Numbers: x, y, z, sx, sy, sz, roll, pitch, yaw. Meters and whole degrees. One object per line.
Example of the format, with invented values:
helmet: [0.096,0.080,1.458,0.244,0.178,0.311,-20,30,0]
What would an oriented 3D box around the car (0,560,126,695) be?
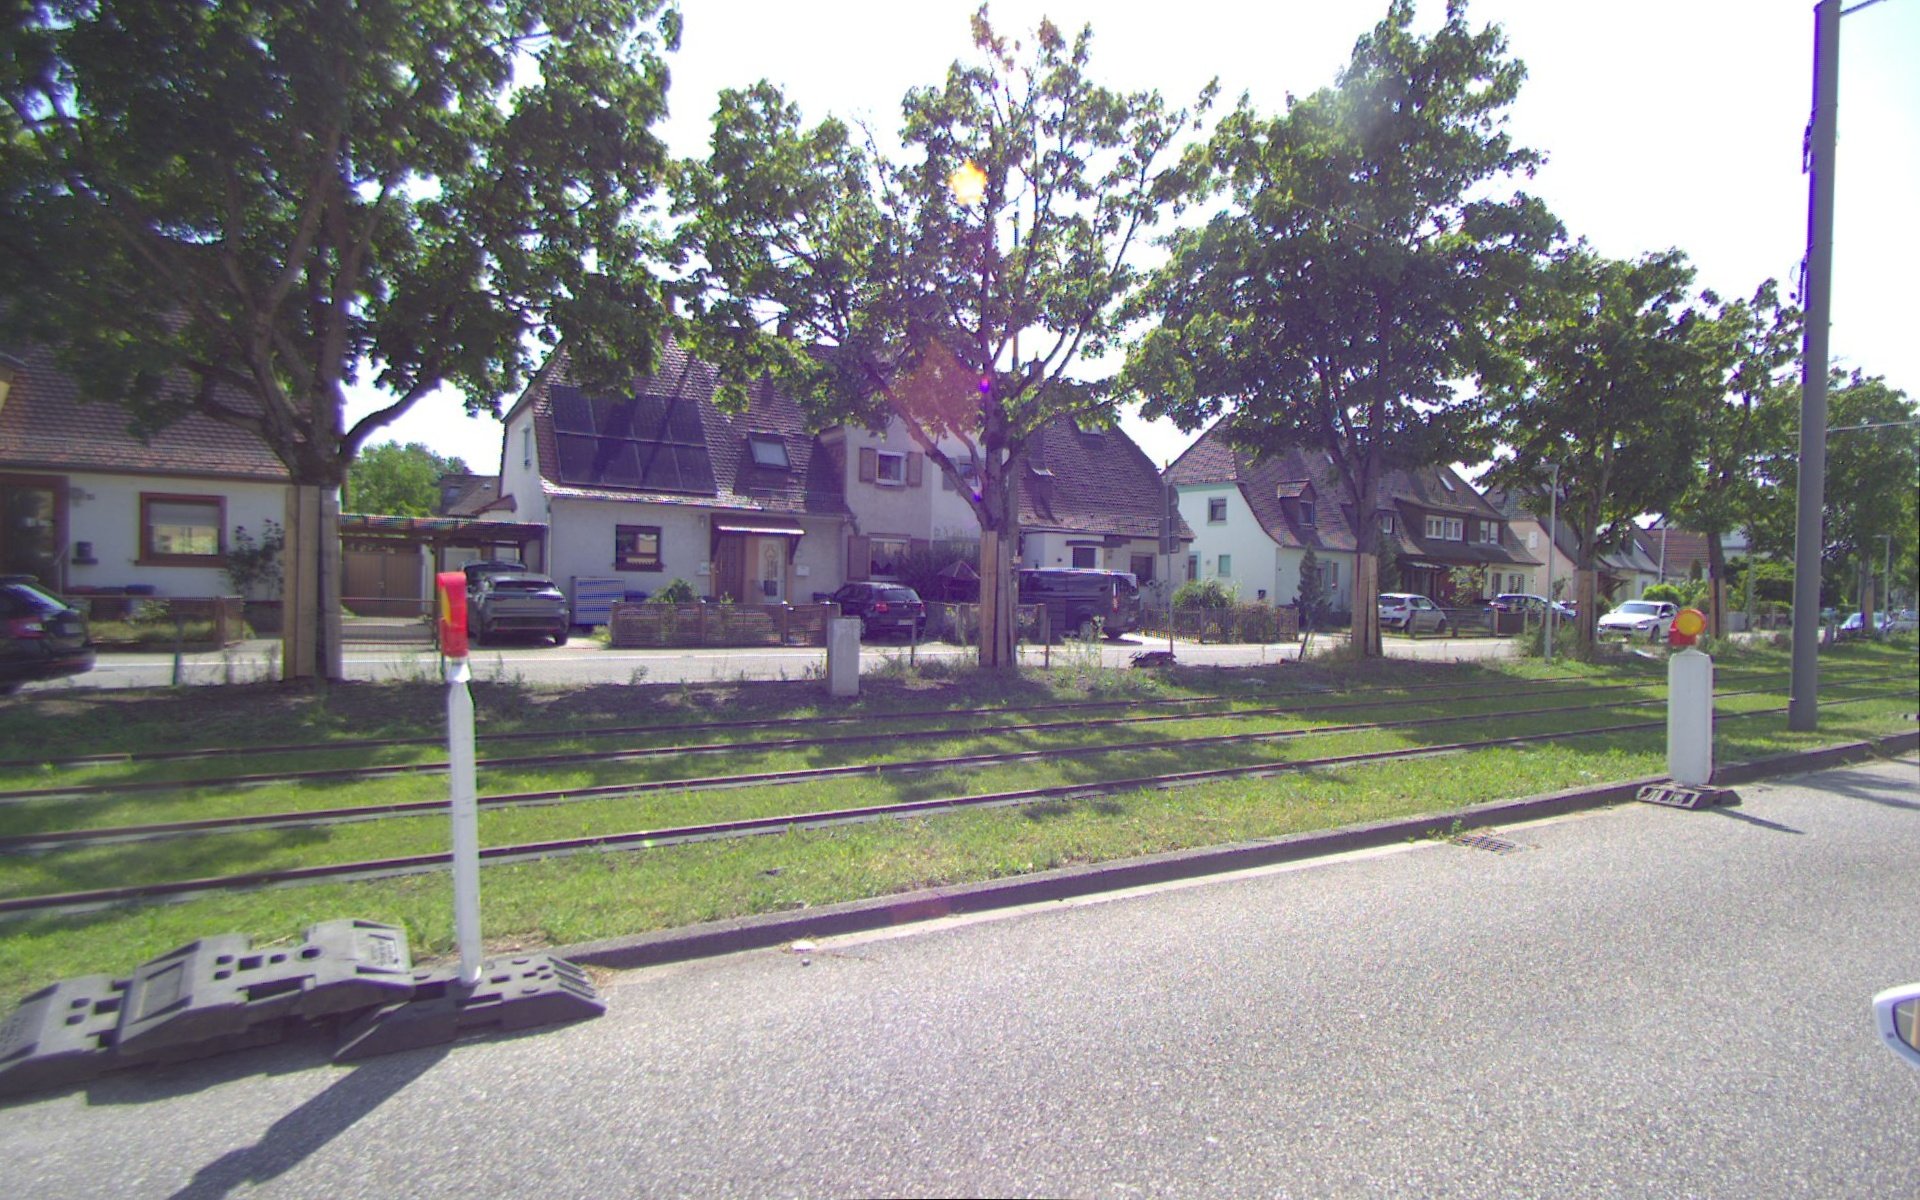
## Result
car: [-12.040,0.238,10.514,4.742,1.406,1.847,1,1,-25]

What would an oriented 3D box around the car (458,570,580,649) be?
car: [-9.900,0.144,22.376,1.854,1.551,3.962,1,2,-33]

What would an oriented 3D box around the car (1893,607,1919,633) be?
car: [60.270,1.237,63.422,4.536,1.608,1.793,1,-1,-44]

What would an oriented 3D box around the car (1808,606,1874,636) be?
car: [44.633,1.056,50.845,4.773,1.425,1.804,1,1,-40]

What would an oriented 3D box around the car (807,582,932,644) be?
car: [-2.481,0.301,26.737,1.717,1.476,3.860,1,1,-33]

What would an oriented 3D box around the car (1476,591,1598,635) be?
car: [26.626,0.557,46.474,2.047,1.861,4.434,1,1,-39]

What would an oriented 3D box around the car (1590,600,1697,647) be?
car: [27.806,0.935,40.834,5.031,1.792,1.869,1,1,-34]

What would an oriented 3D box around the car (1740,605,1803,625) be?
car: [67.587,1.244,83.646,3.944,1.592,1.784,1,1,44]

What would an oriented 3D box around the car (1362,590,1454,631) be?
car: [17.969,0.421,40.217,4.009,1.538,1.714,1,1,-39]

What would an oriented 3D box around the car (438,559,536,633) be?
car: [-12.478,-0.150,26.395,1.780,1.761,3.962,1,2,-33]

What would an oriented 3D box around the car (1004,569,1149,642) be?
car: [3.494,0.131,30.303,3.834,1.922,1.935,4,2,37]
